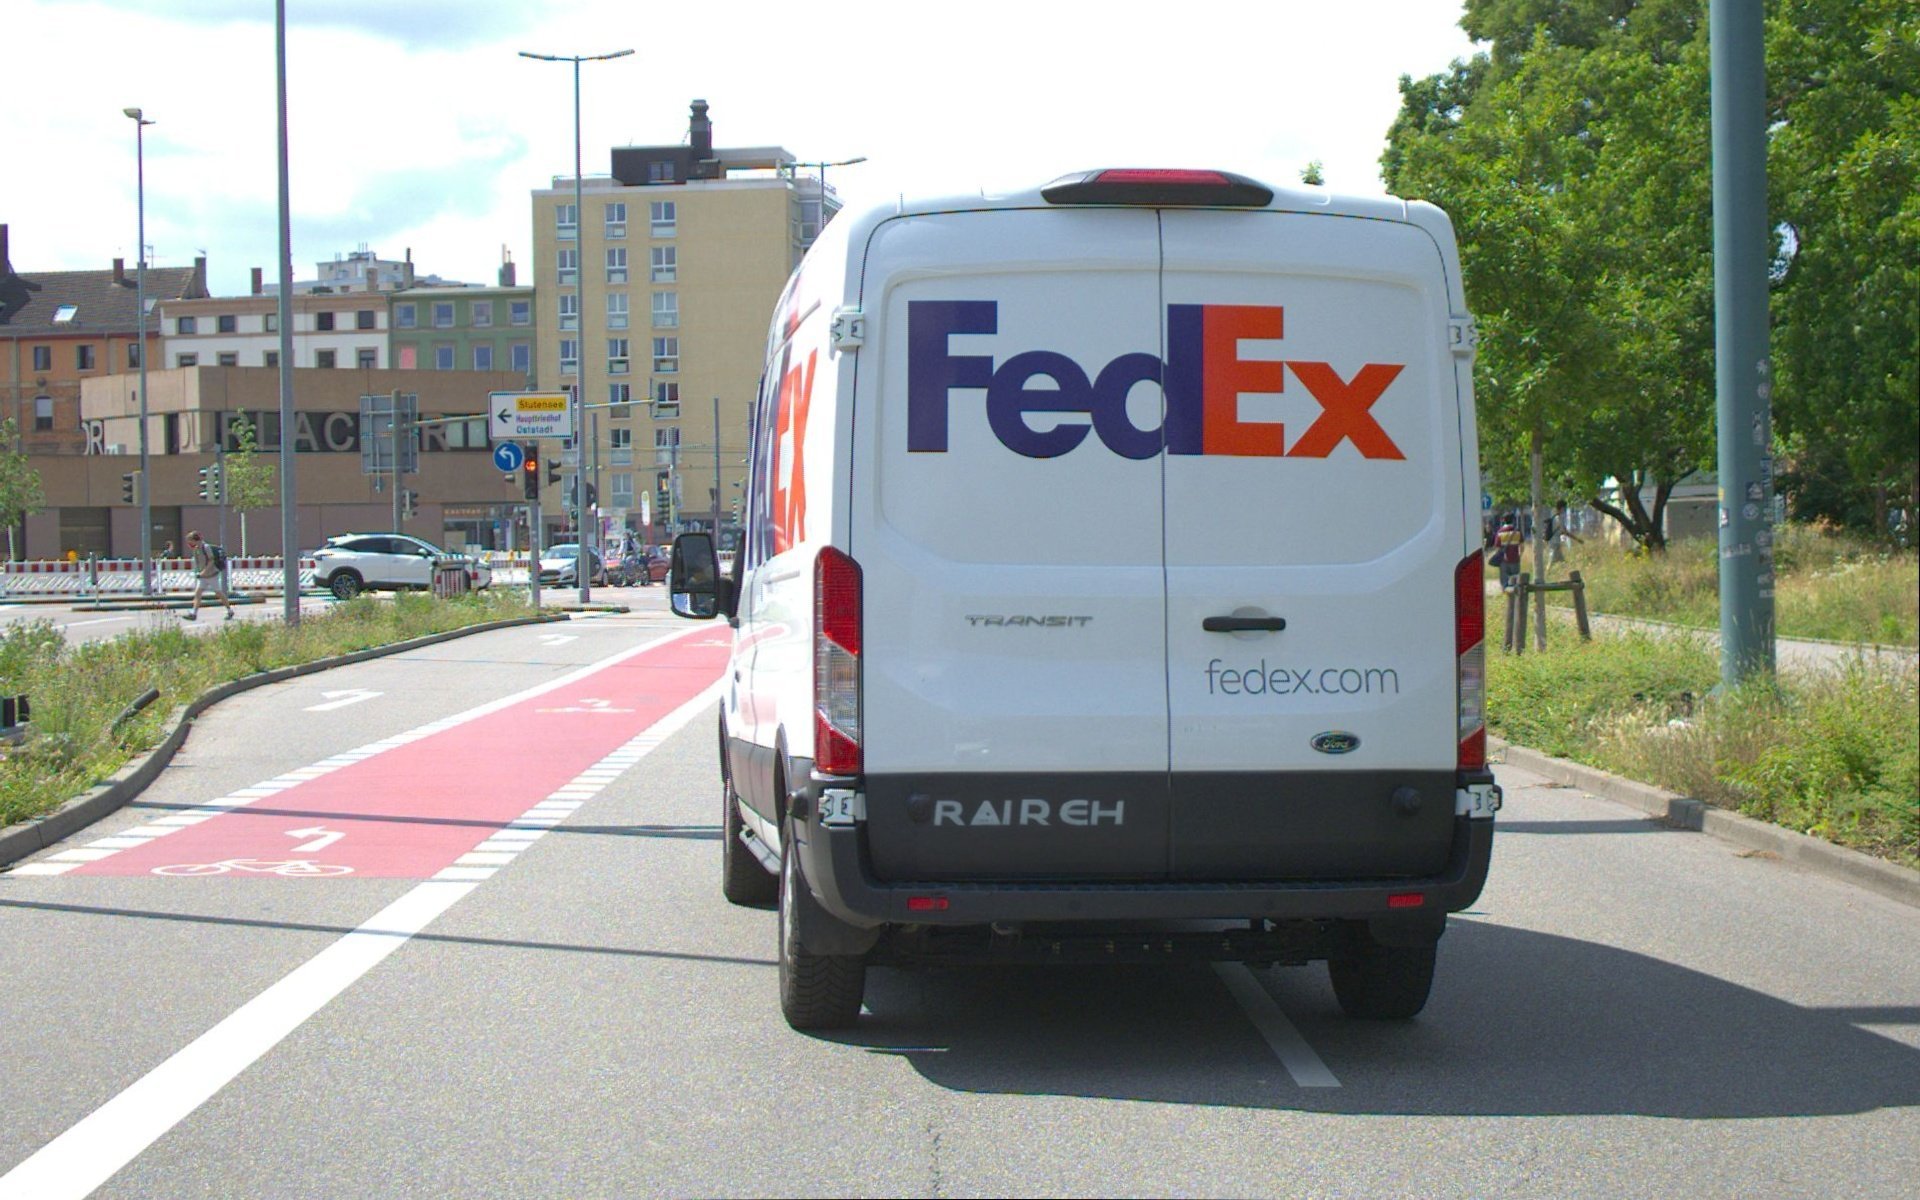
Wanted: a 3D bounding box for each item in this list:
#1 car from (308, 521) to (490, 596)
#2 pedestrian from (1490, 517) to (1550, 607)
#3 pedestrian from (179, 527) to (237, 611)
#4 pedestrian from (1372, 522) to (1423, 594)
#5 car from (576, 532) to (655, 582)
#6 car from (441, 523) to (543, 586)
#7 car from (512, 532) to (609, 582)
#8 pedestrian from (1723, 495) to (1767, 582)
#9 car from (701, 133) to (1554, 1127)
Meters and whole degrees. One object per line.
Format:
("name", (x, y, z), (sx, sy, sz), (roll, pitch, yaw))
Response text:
("car", (-14.000, -1.042, 86.001), (4.356, 1.787, 2.000), (-1, 0, -6))
("pedestrian", (9.621, -0.660, 59.075), (0.845, 1.533, 0.835), (-1, 1, -2))
("pedestrian", (-14.109, -0.588, 64.506), (0.873, 1.554, 0.555), (-2, 1, -36))
("pedestrian", (8.455, -0.815, 66.461), (0.845, 1.384, 0.741), (-1, 1, -2))
("car", (-11.819, -1.482, 118.073), (1.879, 1.646, 3.999), (-1, 1, 7))
("car", (-15.287, -1.494, 112.438), (1.995, 2.007, 3.998), (-1, 1, 13))
("car", (-12.978, -1.395, 111.860), (1.902, 1.579, 3.998), (-1, 1, 13))
("pedestrian", (18.738, -1.465, 82.077), (0.846, 2.051, 0.740), (0, 1, 27))
("car", (0.253, 0.003, 12.113), (2.140, 2.643, 5.705), (-1, 1, -6))
